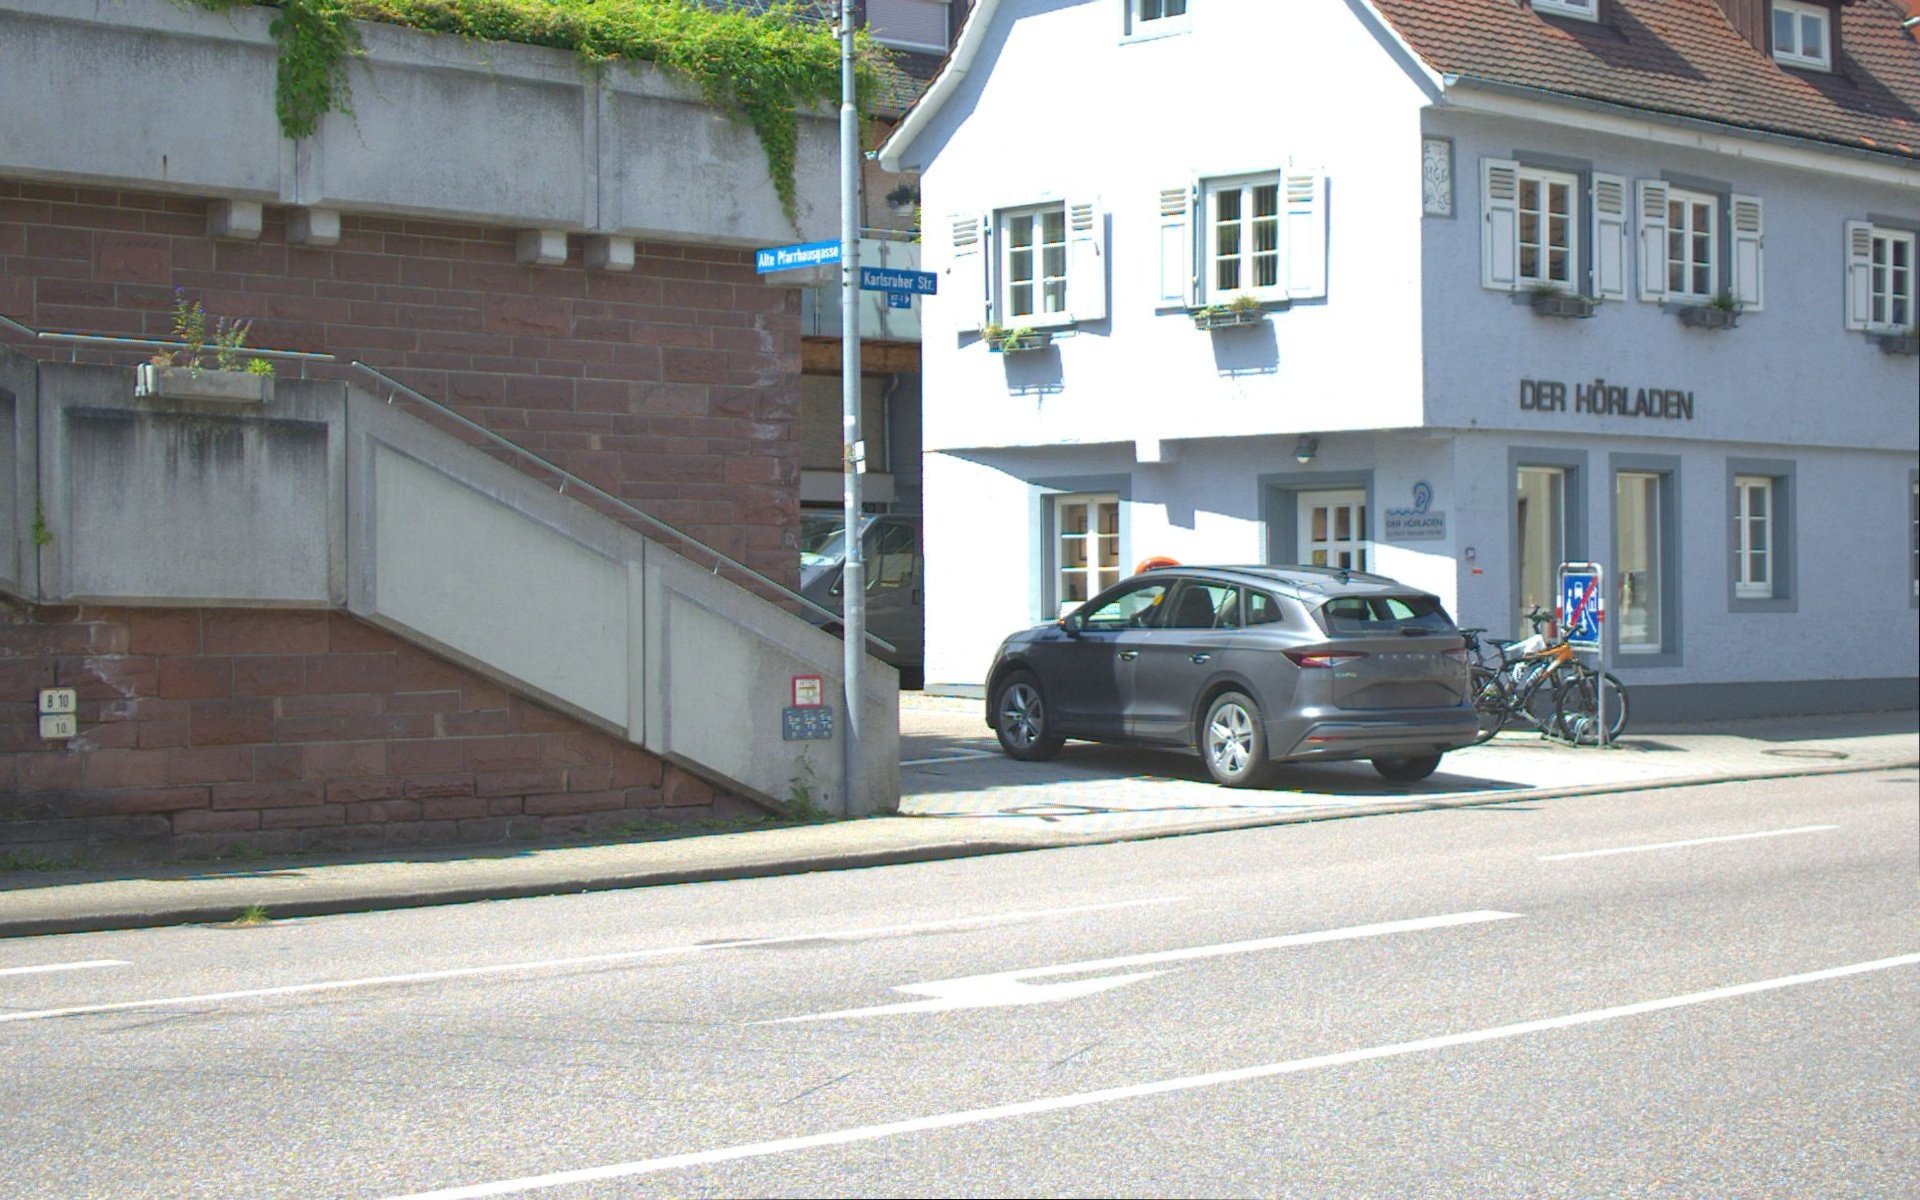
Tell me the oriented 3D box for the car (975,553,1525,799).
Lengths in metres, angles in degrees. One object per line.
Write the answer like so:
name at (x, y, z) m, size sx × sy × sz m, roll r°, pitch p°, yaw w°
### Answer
car at (2.133, 0.504, 26.530) m, size 1.949 × 1.577 × 4.326 m, roll -1°, pitch 3°, yaw -34°

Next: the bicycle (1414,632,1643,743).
bicycle at (4.863, 0.747, 29.437) m, size 1.816 × 0.896 × 0.623 m, roll 1°, pitch 0°, yaw -10°

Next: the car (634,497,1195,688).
car at (-0.455, -0.061, 38.988) m, size 5.977 × 2.007 × 2.524 m, roll 0°, pitch -1°, yaw -36°

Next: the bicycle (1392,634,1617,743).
bicycle at (4.759, 0.771, 30.094) m, size 1.816 × 0.896 × 0.649 m, roll 1°, pitch 0°, yaw -10°
